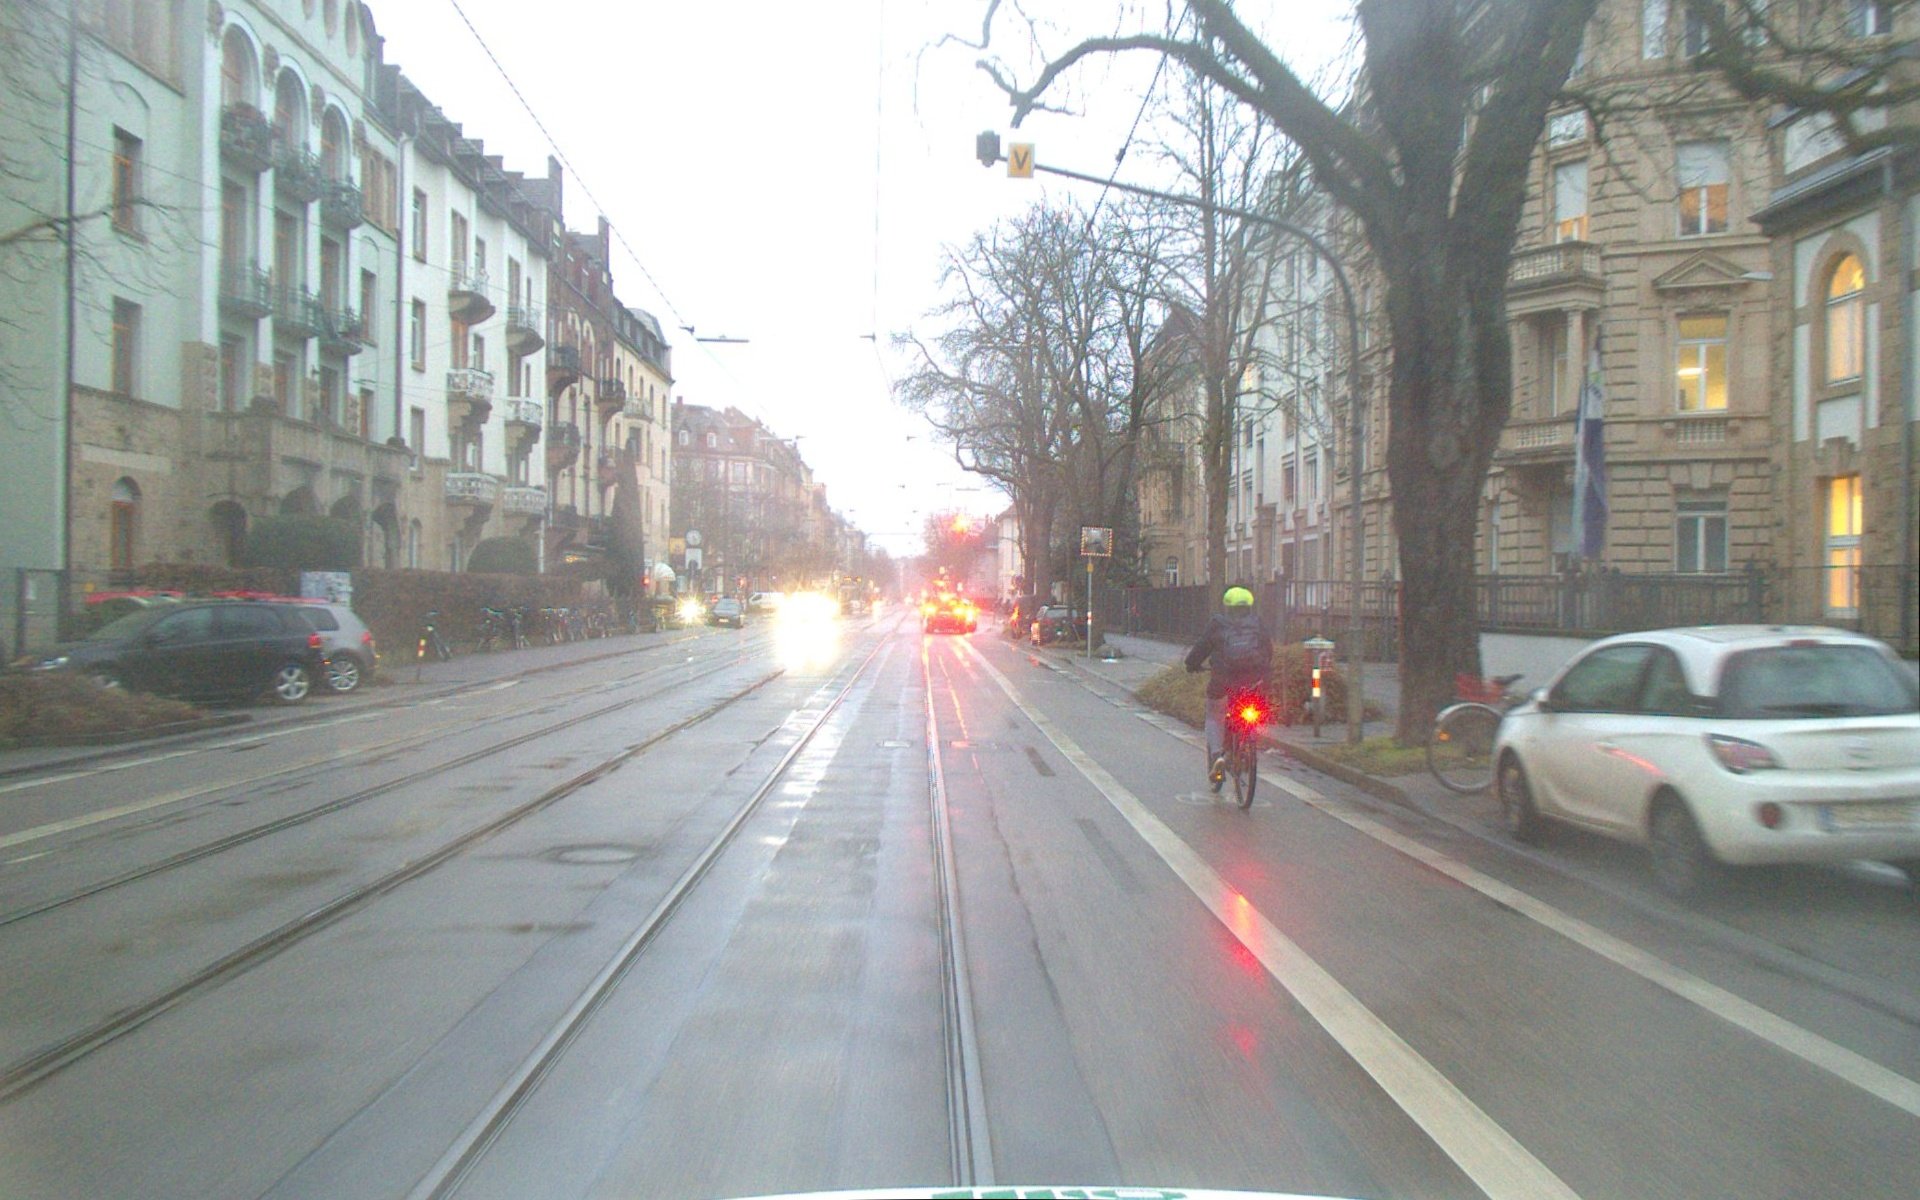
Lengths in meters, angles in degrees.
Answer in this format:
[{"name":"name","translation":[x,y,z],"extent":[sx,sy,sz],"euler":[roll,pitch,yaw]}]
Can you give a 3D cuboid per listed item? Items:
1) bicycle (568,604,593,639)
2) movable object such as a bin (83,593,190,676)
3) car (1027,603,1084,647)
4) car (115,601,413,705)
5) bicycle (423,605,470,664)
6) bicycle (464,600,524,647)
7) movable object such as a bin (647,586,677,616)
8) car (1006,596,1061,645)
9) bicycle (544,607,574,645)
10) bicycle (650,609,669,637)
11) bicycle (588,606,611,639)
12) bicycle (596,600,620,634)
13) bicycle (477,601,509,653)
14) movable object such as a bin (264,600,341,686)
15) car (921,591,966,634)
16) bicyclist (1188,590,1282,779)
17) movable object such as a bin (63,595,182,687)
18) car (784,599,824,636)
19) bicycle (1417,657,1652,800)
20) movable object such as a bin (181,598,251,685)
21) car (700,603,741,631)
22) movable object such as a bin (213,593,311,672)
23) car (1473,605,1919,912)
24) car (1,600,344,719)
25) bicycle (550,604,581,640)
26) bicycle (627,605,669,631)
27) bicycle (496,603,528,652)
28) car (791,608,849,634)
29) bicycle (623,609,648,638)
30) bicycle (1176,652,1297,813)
[{"name":"bicycle","translation":[-11.775,0.678,51.351],"extent":[0.679,1.049,1.592],"euler":[0,-1,-11]},{"name":"movable object such as a bin","translation":[-15.106,0.624,30.374],"extent":[1.236,1.476,1.326],"euler":[0,1,5]},{"name":"car","translation":[3.384,0.857,59.075],"extent":[1.643,1.485,4.041],"euler":[0,0,-2]},{"name":"car","translation":[-10.928,0.772,26.128],"extent":[3.970,1.453,1.818],"euler":[-1,1,-45]},{"name":"bicycle","translation":[-11.203,0.735,36.111],"extent":[0.679,1.233,1.594],"euler":[0,1,-7]},{"name":"bicycle","translation":[-13.239,0.666,46.994],"extent":[1.556,1.286,0.490],"euler":[-1,-5,2]},{"name":"movable object such as a bin","translation":[-15.775,0.047,87.606],"extent":[1.380,1.557,1.364],"euler":[0,1,-2]},{"name":"car","translation":[3.111,0.836,70.668],"extent":[1.953,1.933,5.025],"euler":[0,1,-2]},{"name":"bicycle","translation":[-11.503,0.731,47.516],"extent":[0.679,1.049,1.592],"euler":[0,1,-8]},{"name":"bicycle","translation":[-12.091,0.911,66.666],"extent":[0.602,1.099,1.808],"euler":[0,1,-6]},{"name":"bicycle","translation":[-11.785,0.741,54.049],"extent":[0.679,1.049,1.592],"euler":[0,-1,-11]},{"name":"bicycle","translation":[-11.892,0.573,55.906],"extent":[0.476,1.119,1.930],"euler":[-1,0,-3]},{"name":"bicycle","translation":[-11.438,0.656,40.556],"extent":[0.618,1.233,1.592],"euler":[0,1,-11]},{"name":"movable object such as a bin","translation":[-11.671,0.743,29.349],"extent":[1.246,1.476,1.103],"euler":[0,1,-24]},{"name":"car","translation":[-0.822,0.608,78.325],"extent":[1.953,1.930,4.756],"euler":[1,-1,-2]},{"name":"bicyclist","translation":[2.218,0.660,13.401],"extent":[0.642,1.471,0.849],"euler":[0,0,1]},{"name":"movable object such as a bin","translation":[-13.814,0.661,27.322],"extent":[1.236,1.476,1.326],"euler":[0,1,5]},{"name":"car","translation":[-8.910,0.983,94.782],"extent":[2.005,1.956,5.097],"euler":[0,1,-3]},{"name":"bicycle","translation":[4.634,1.029,13.398],"extent":[1.678,1.089,0.663],"euler":[0,0,-2]},{"name":"movable object such as a bin","translation":[-12.966,0.706,28.847],"extent":[1.074,1.476,1.104],"euler":[0,1,-23]},{"name":"car","translation":[-13.436,0.960,93.086],"extent":[1.796,1.472,3.999],"euler":[0,1,-1]},{"name":"movable object such as a bin","translation":[-13.357,0.602,31.708],"extent":[1.236,1.476,1.326],"euler":[0,1,5]},{"name":"car","translation":[4.706,0.832,10.485],"extent":[1.658,1.546,3.635],"euler":[0,1,-3]},{"name":"car","translation":[-10.924,0.760,23.123],"extent":[1.800,1.496,3.974],"euler":[0,0,43]},{"name":"bicycle","translation":[-11.760,0.652,49.358],"extent":[0.679,1.049,1.594],"euler":[-1,-1,-6]},{"name":"bicycle","translation":[-13.604,0.781,72.068],"extent":[1.771,1.099,0.615],"euler":[0,0,-9]},{"name":"bicycle","translation":[-11.712,0.701,43.273],"extent":[0.679,1.233,1.592],"euler":[0,1,-11]},{"name":"car","translation":[-9.799,1.452,116.255],"extent":[3.905,1.758,1.740],"euler":[0,1,0]},{"name":"bicycle","translation":[-11.955,0.866,60.960],"extent":[0.613,1.035,1.804],"euler":[-1,0,-3]},{"name":"bicycle","translation":[2.208,1.027,13.450],"extent":[0.693,1.116,2.029],"euler":[0,1,1]}]
